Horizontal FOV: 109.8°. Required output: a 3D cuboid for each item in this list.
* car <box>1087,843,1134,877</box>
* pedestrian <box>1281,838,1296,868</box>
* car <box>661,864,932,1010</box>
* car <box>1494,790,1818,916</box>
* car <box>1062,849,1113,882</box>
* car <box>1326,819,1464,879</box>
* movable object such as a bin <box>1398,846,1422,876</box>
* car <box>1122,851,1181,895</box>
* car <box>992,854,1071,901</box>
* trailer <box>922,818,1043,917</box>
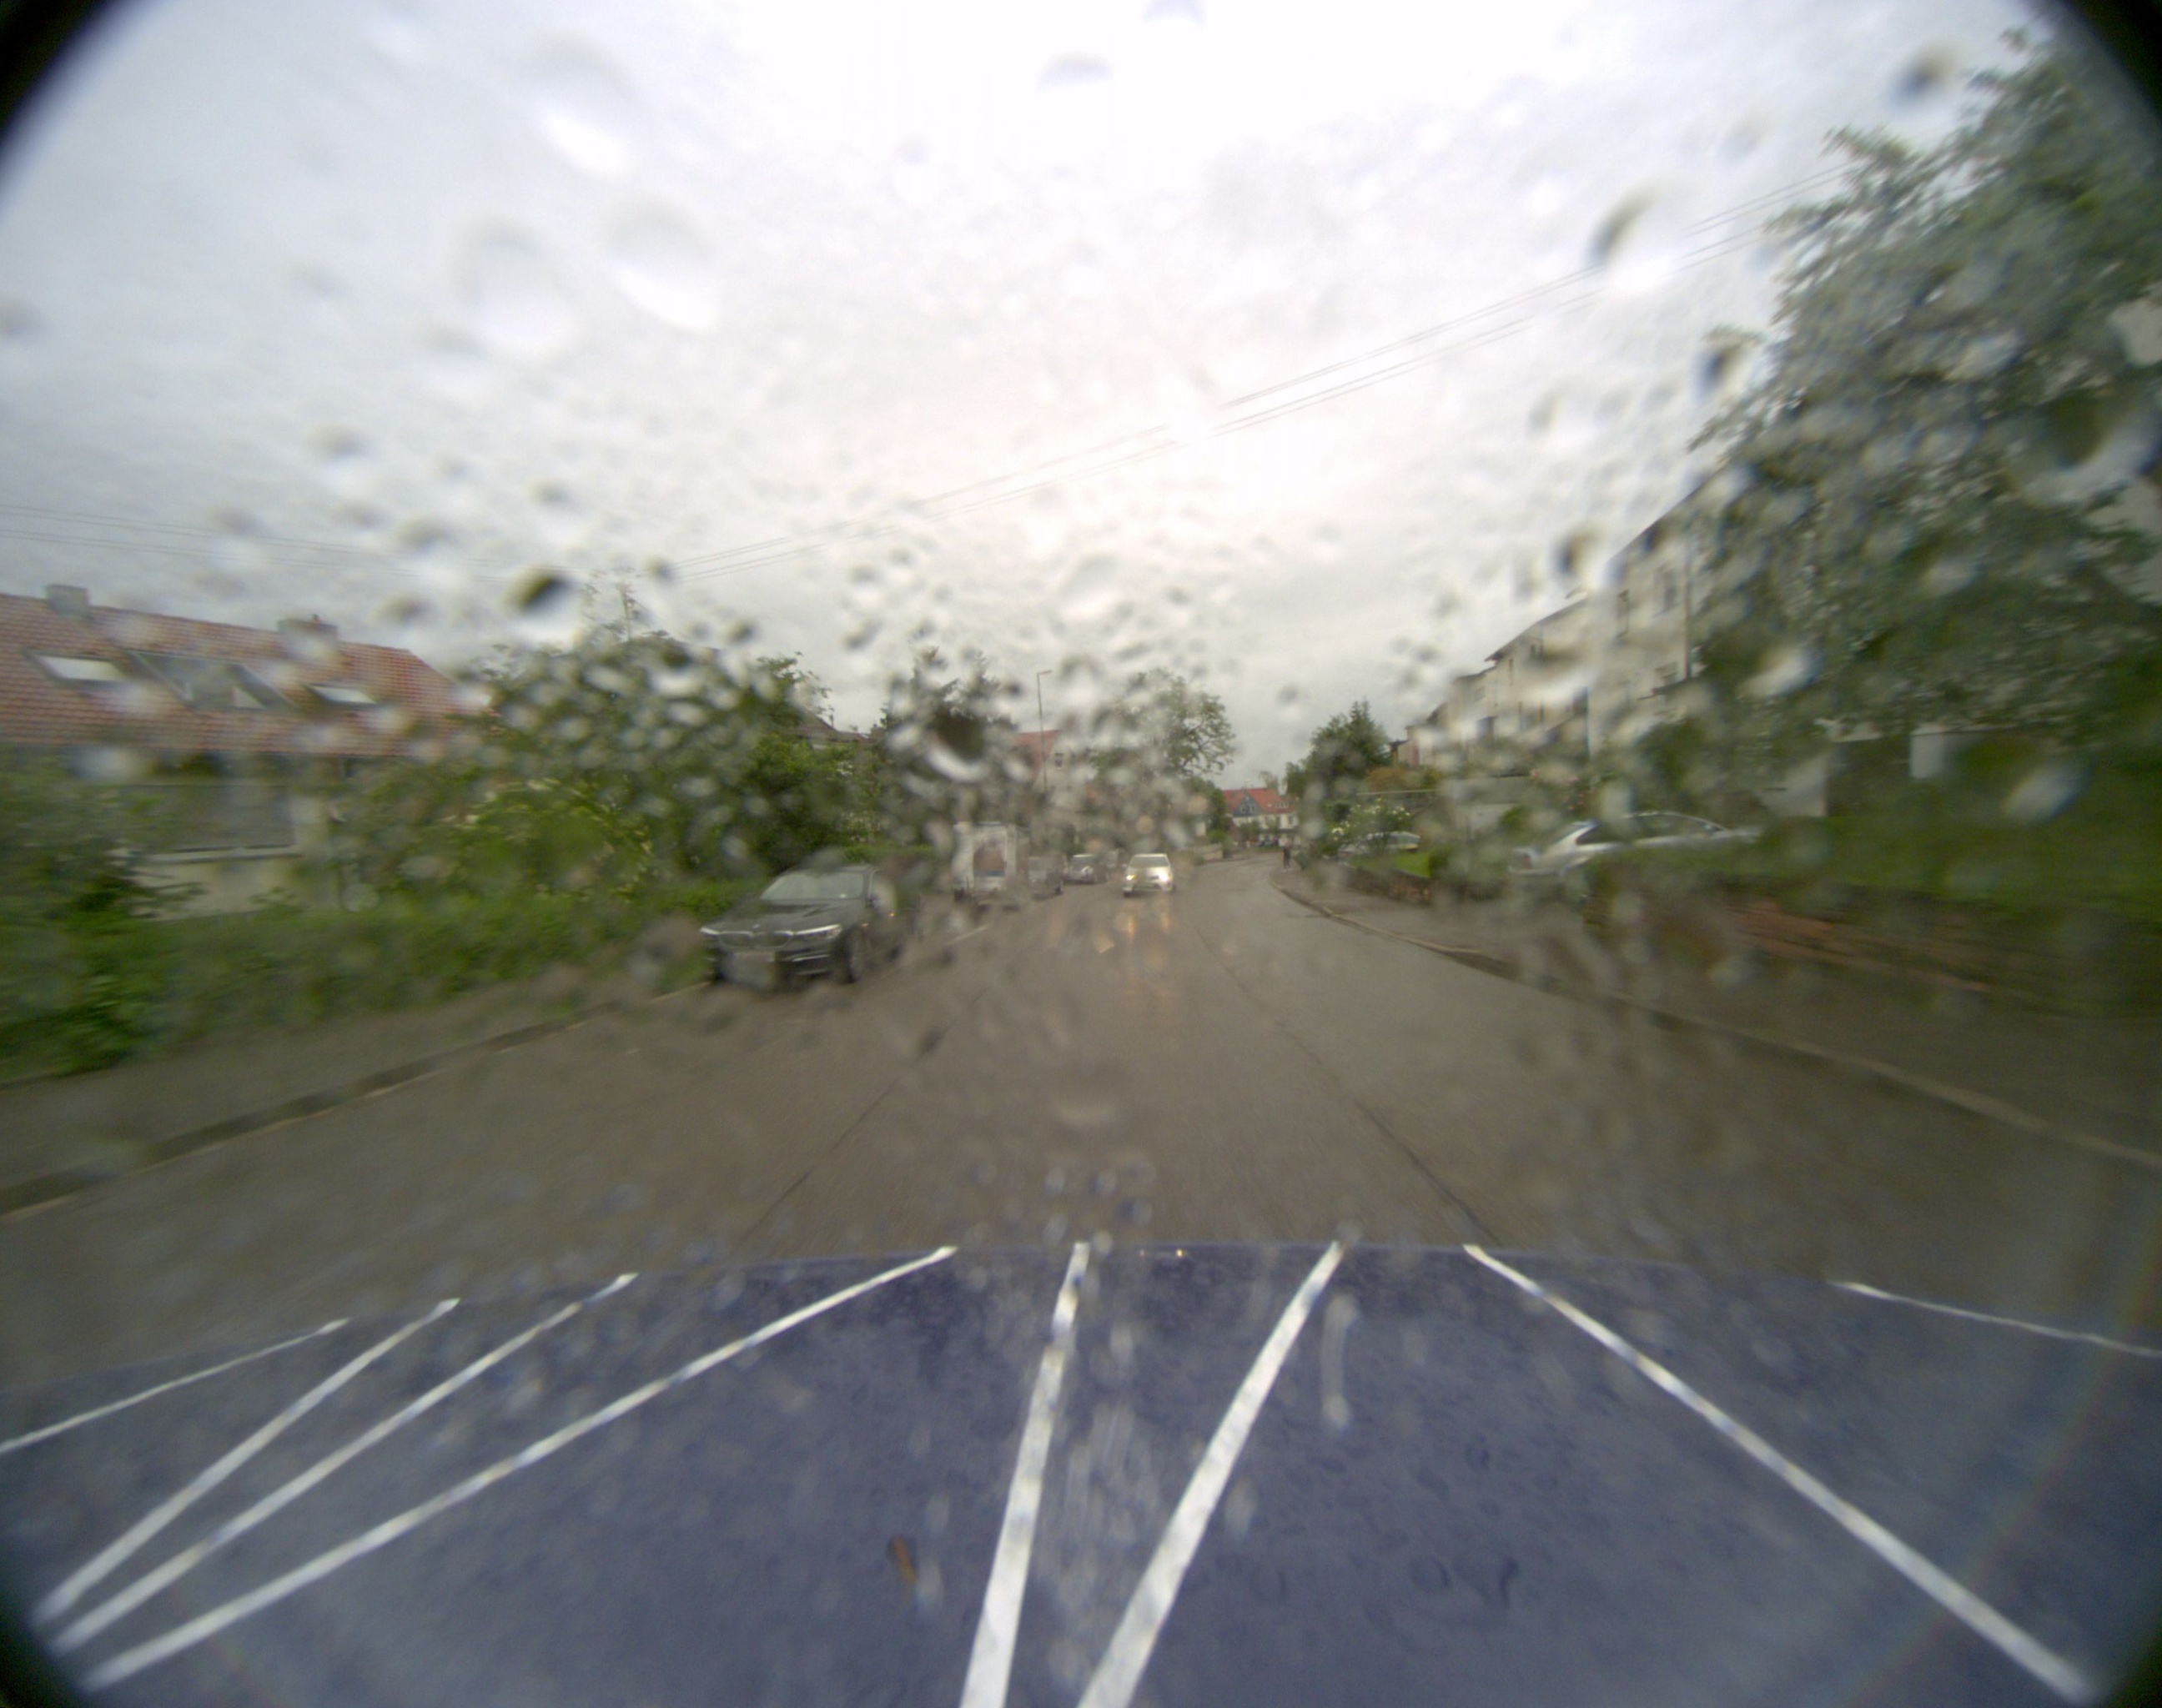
[{"bbox_3d":[1.721,0.299,42.487,1.832,1.691,4.464,-2,1,12],"label":"car"},{"bbox_3d":[11.607,-0.036,42.520,0.657,1.639,0.733,-3,0,9],"label":"pedestrian"},{"bbox_3d":[-3.625,0.959,10.817,1.797,1.451,4.789,-2,1,3],"label":"car"},{"bbox_3d":[10.269,-0.005,13.995,4.259,1.423,1.768,-11,-1,18],"label":"car"},{"bbox_3d":[0.376,0.519,37.159,1.636,1.448,3.704,-2,1,14],"label":"car"},{"bbox_3d":[12.068,-0.191,29.553,4.518,1.605,1.934,-8,0,12],"label":"car"},{"bbox_3d":[11.754,0.252,27.189,0.538,1.013,0.711,-7,0,10],"label":"movable object such as a bin"},{"bbox_3d":[2.664,0.633,27.881,1.862,1.370,4.183,-2,1,9],"label":"car"},{"bbox_3d":[-1.693,0.792,27.705,1.750,1.416,4.706,-2,1,10],"label":"car"},{"bbox_3d":[-2.627,0.308,21.817,1.952,2.442,5.437,-2,1,8],"label":"trailer"}]
